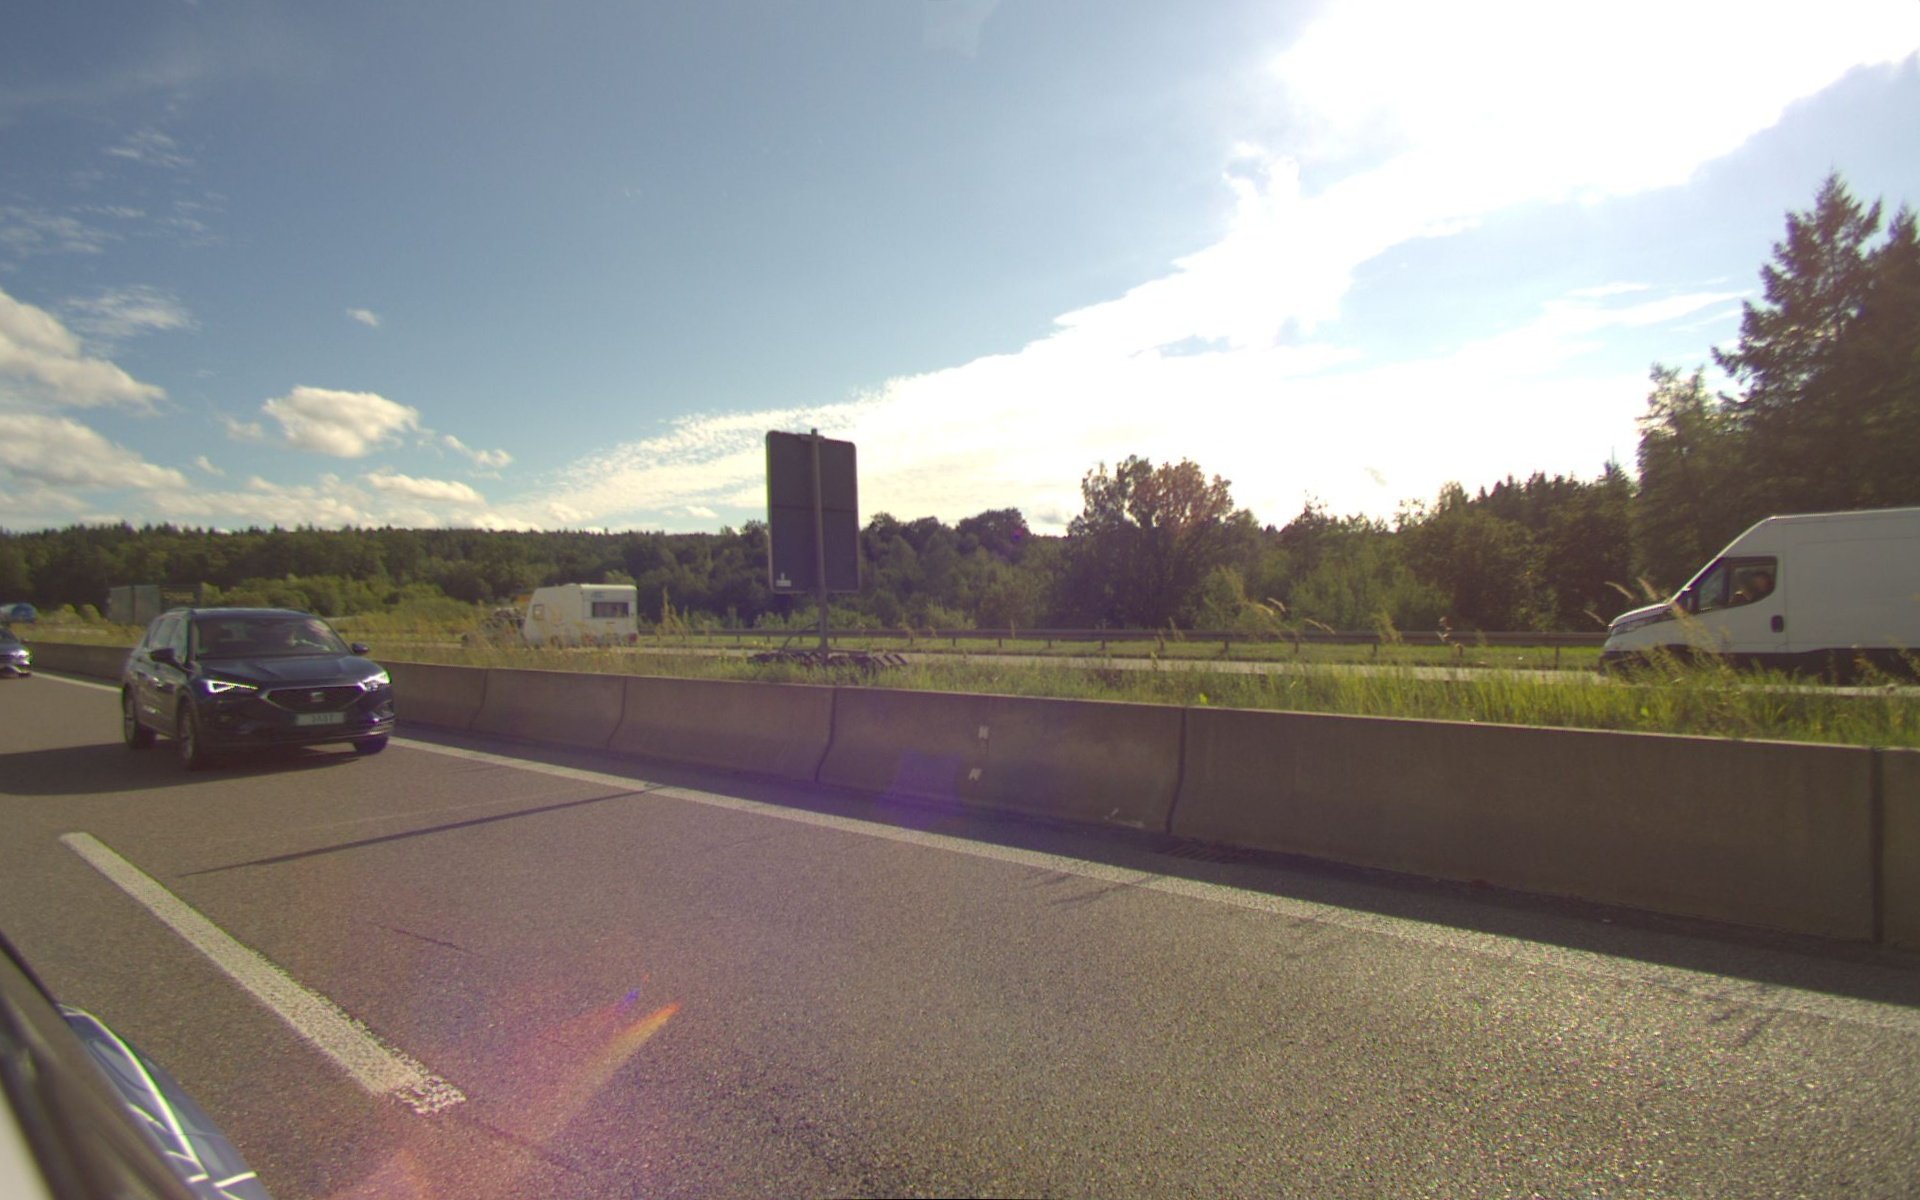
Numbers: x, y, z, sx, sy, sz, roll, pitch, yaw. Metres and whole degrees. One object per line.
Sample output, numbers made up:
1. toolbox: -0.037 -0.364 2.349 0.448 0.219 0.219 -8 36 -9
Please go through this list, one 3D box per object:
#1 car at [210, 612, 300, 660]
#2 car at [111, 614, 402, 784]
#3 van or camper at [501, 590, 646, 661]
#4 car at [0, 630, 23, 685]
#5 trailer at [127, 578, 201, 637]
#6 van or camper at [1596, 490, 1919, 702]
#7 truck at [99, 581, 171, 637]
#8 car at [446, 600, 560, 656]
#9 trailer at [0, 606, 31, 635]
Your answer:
1. car: -25.287 1.272 36.274 3.807 1.617 1.809 -2 -1 41
2. car: -8.031 0.953 11.406 4.156 1.554 1.756 -1 -1 41
3. van or camper: -14.252 0.899 37.140 5.847 2.432 2.434 -1 -1 40
4. car: -28.100 1.616 28.759 4.156 1.471 1.756 -1 -1 41
5. trailer: -60.104 0.614 76.355 8.545 4.276 2.698 -1 -1 40
6. van or camper: 12.606 -0.040 13.143 7.147 2.613 1.927 -1 -2 40
7. truck: -67.322 0.775 82.441 10.335 4.276 2.684 -1 -1 40
8. car: -18.432 1.095 40.714 5.078 2.073 2.217 -1 0 40
9. trailer: -117.809 2.551 125.487 10.866 3.308 2.298 -1 2 40
